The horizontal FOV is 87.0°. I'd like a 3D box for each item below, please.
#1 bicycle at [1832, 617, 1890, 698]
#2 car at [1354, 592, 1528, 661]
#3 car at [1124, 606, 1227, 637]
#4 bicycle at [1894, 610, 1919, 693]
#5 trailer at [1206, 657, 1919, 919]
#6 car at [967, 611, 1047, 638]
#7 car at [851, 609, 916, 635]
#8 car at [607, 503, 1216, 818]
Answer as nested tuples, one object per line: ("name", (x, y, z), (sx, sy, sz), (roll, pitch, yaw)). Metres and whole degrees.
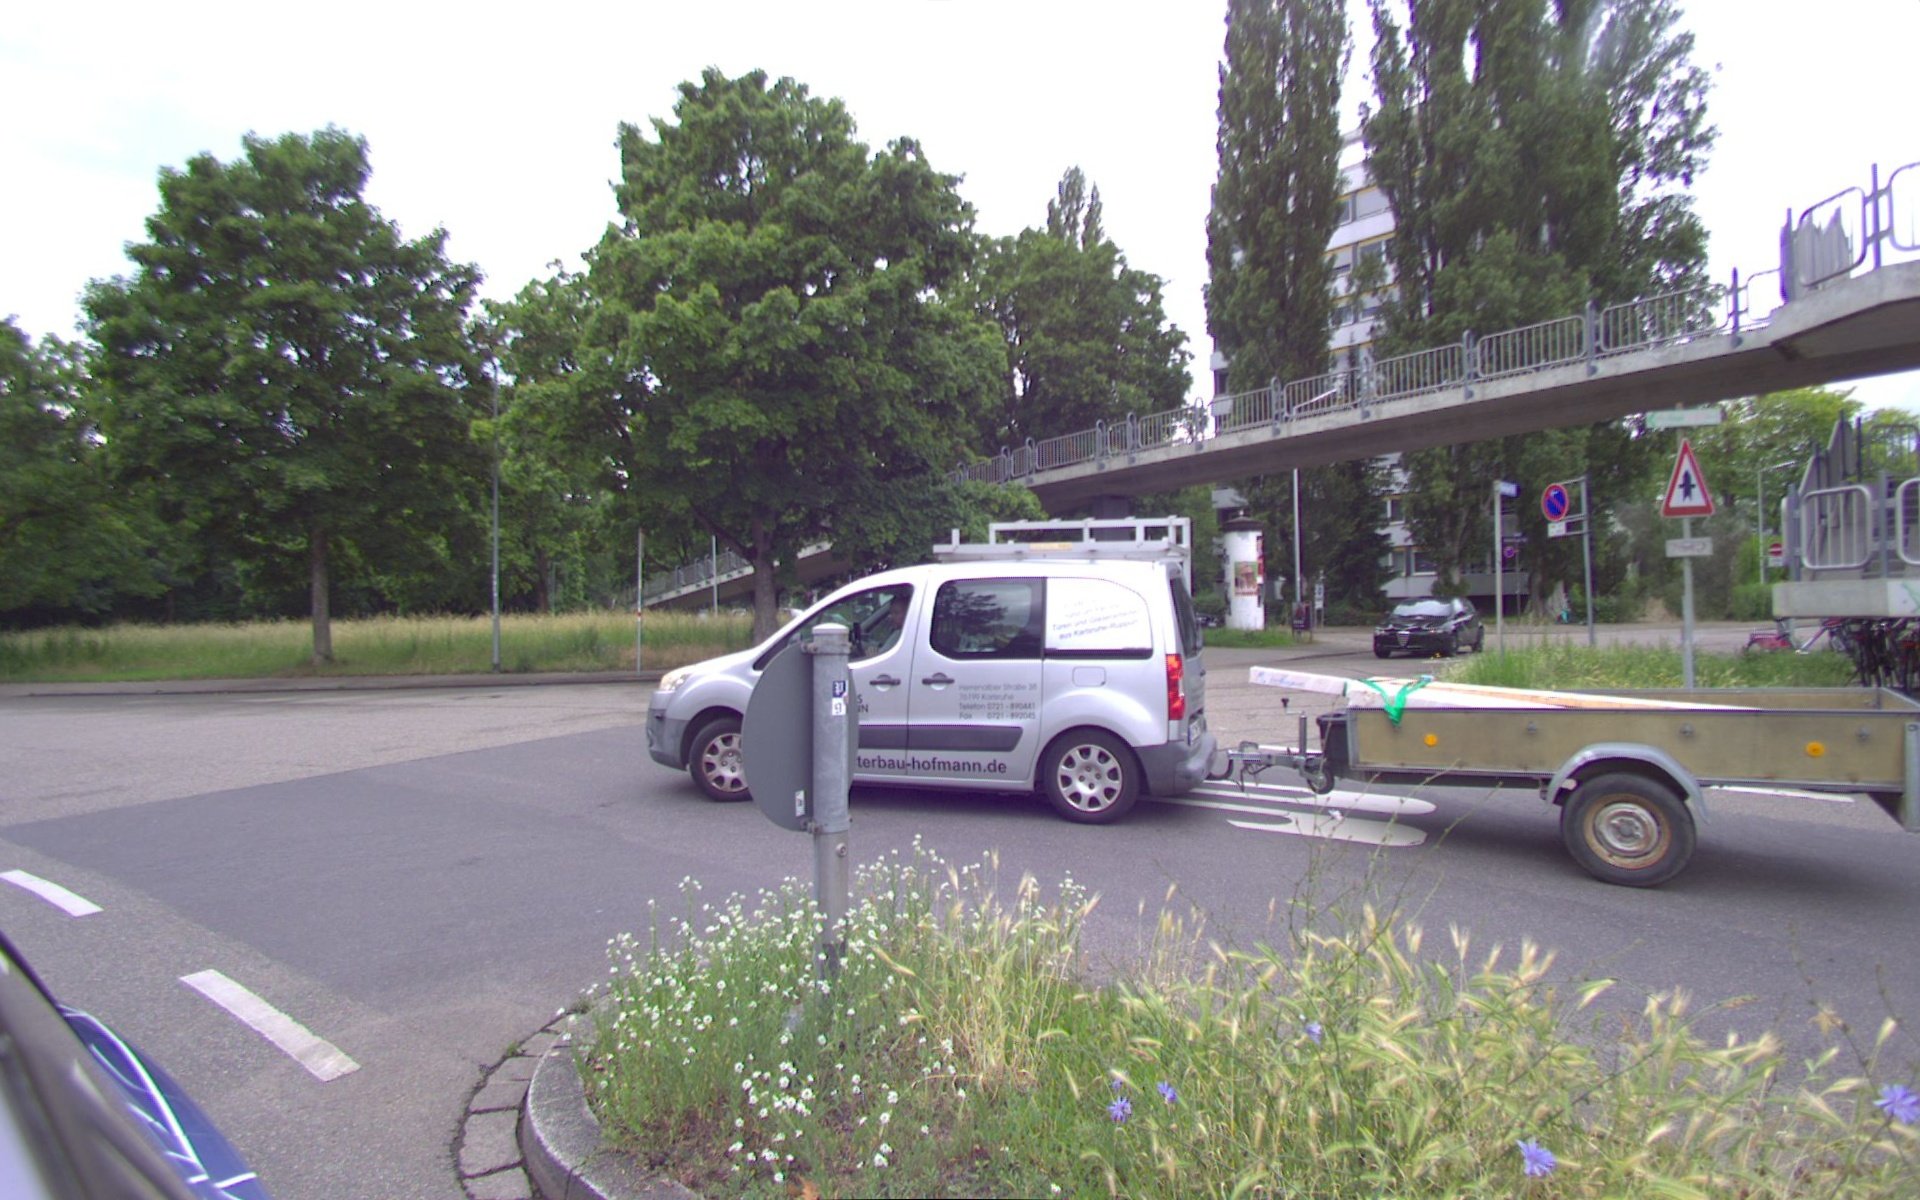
("bicycle", (10.949, 0.674, 12.284), (1.618, 0.892, 0.395), (-1, -1, -44))
("car", (11.588, 0.590, 24.273), (4.466, 1.468, 1.808), (-1, -1, -35))
("car", (8.872, 0.888, 41.945), (1.667, 1.214, 4.007), (-1, 0, -39))
("bicycle", (11.169, 0.571, 11.729), (1.618, 0.892, 0.395), (-1, -1, -44))
("trailer", (3.366, 0.887, 5.819), (3.458, 0.993, 1.553), (-2, 0, 37))
("car", (2.273, 1.181, 49.890), (1.667, 1.247, 4.007), (-1, 0, -39))
("car", (-4.395, 1.251, 57.462), (1.667, 1.361, 4.007), (-1, 0, -39))
("car", (-0.293, 0.373, 7.735), (4.190, 1.871, 2.081), (-1, 0, 20))
